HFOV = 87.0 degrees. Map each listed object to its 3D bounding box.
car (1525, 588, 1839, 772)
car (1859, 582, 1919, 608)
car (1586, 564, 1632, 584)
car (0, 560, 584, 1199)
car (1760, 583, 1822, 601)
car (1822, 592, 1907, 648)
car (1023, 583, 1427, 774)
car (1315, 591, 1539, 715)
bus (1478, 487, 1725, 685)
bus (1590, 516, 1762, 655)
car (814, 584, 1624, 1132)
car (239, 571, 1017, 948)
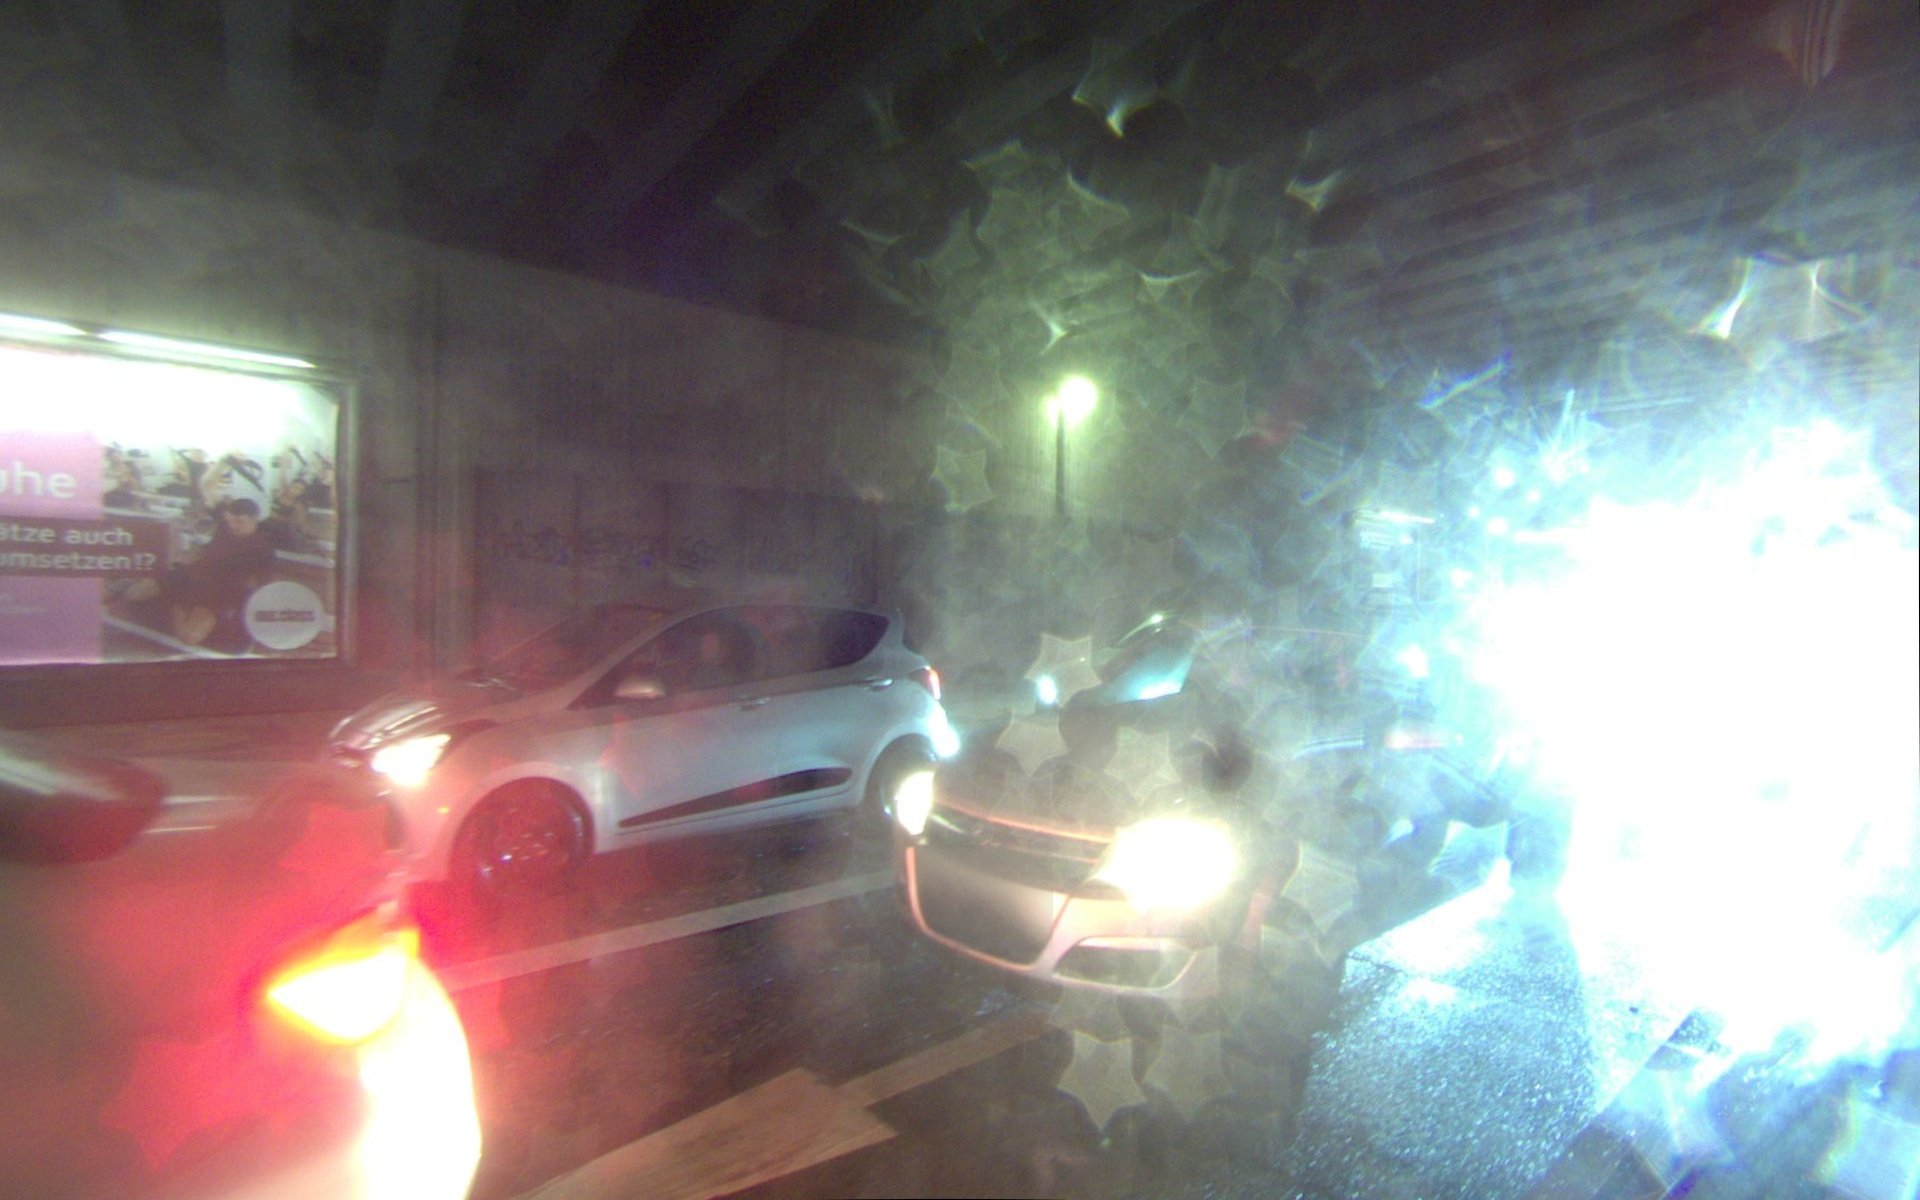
[{"bbox_3d":[7.456,0.665,10.305,4.091,1.506,1.722,0,-2,-42],"label":"car"},{"bbox_3d":[59.388,-0.342,64.389,1.580,1.556,4.289,1,1,17],"label":"car"},{"bbox_3d":[46.242,-1.861,72.224,1.685,1.407,3.979,1,1,17],"label":"car"},{"bbox_3d":[-2.794,0.687,0.868,4.307,1.464,1.723,0,3,-42],"label":"car"},{"bbox_3d":[66.755,-0.659,81.389,1.872,1.407,4.596,0,1,12],"label":"car"},{"bbox_3d":[27.265,0.547,30.609,1.749,1.464,3.916,3,3,40],"label":"car"},{"bbox_3d":[2.911,0.609,10.413,4.705,1.505,1.723,0,2,-42],"label":"car"},{"bbox_3d":[7.030,0.657,15.038,1.721,1.505,4.096,4,3,44],"label":"car"},{"bbox_3d":[13.879,-0.306,21.399,2.733,3.318,9.550,1,1,43],"label":"bus"},{"bbox_3d":[20.336,-0.419,28.427,2.733,3.278,9.550,1,1,43],"label":"bus"},{"bbox_3d":[1.506,0.675,4.758,4.091,1.464,1.723,0,1,-42],"label":"car"},{"bbox_3d":[-1.717,0.611,6.068,4.091,1.464,1.723,0,3,-42],"label":"car"}]
